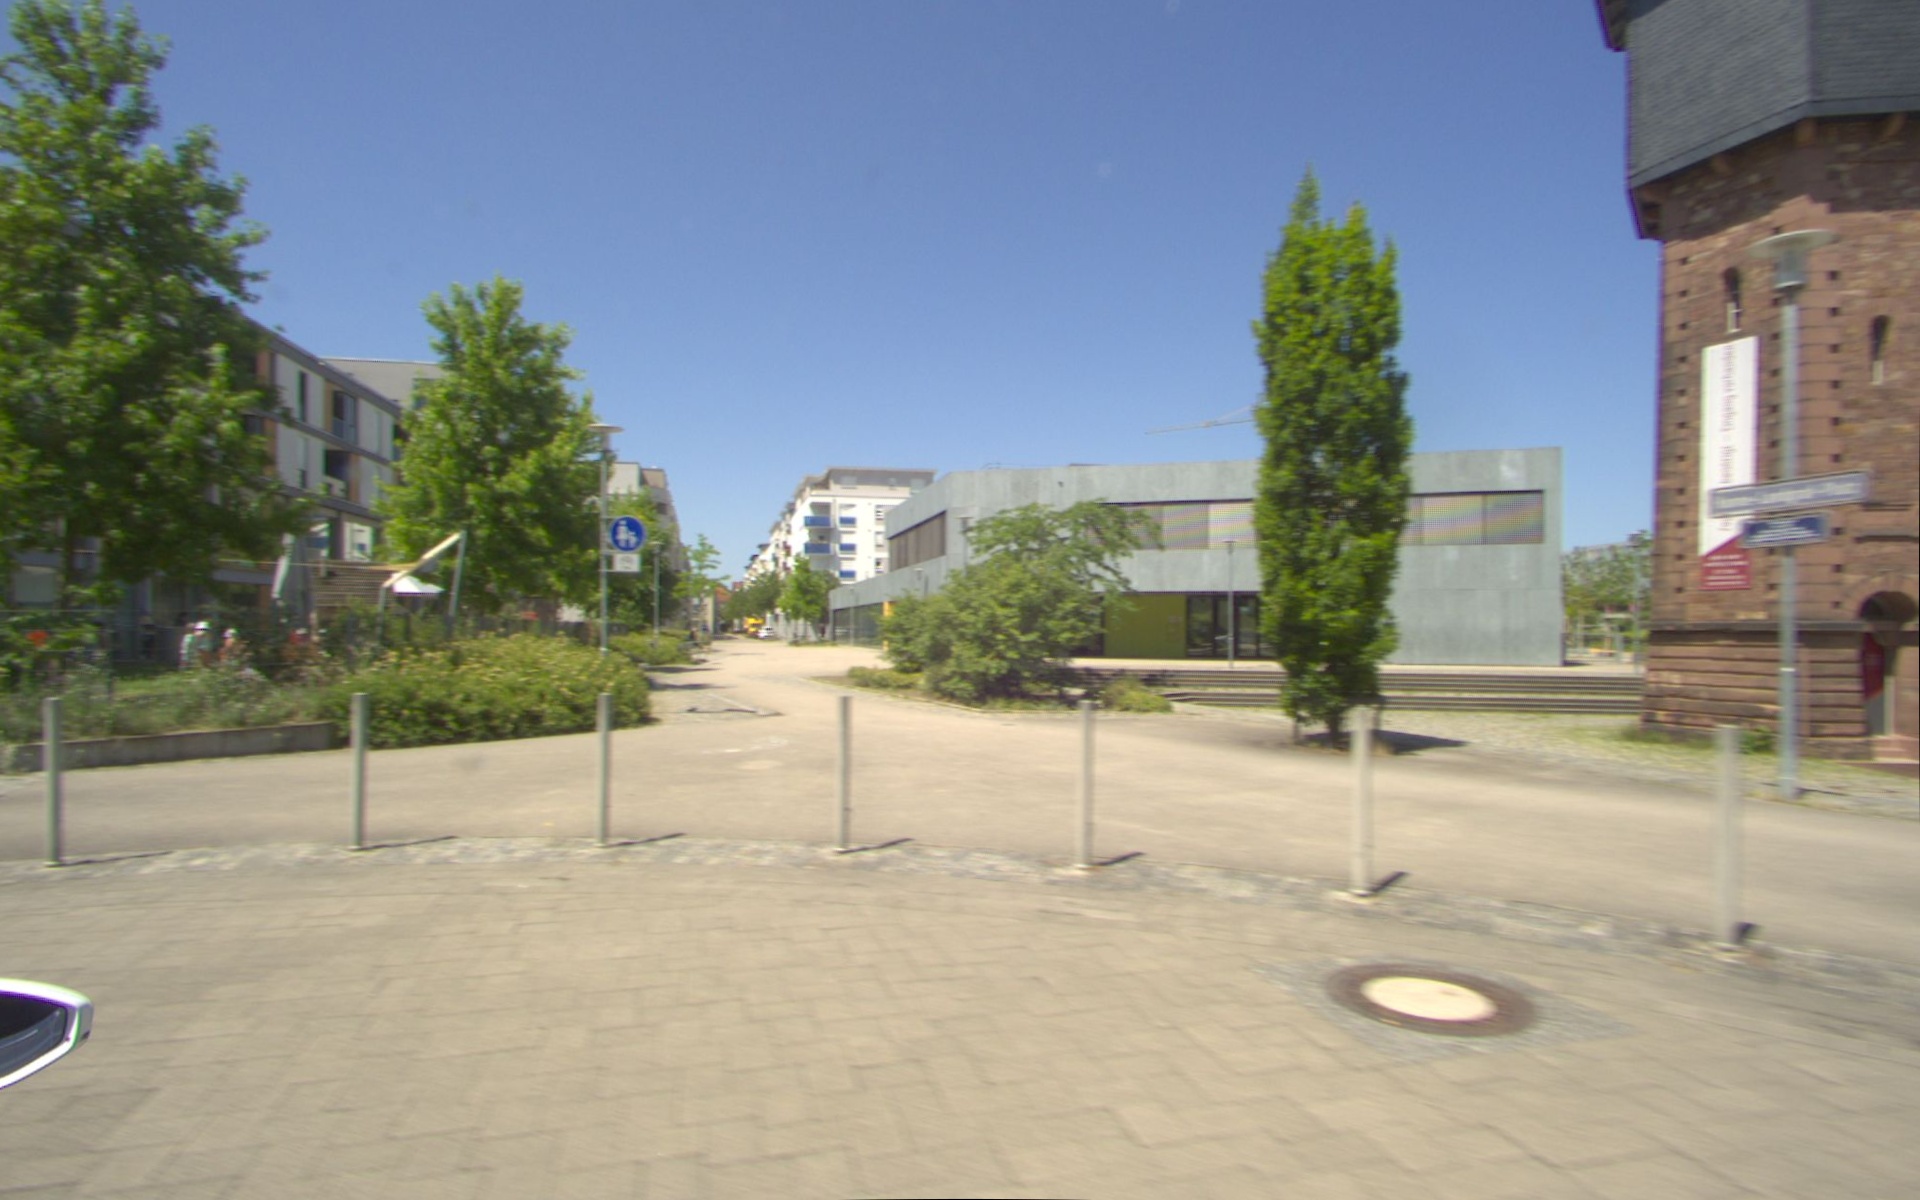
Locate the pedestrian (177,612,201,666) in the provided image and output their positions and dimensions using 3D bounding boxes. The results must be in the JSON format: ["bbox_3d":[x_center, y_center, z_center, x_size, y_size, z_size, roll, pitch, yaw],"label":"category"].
[{"bbox_3d":[-15.642,0.791,20.326,0.285,1.067,0.289,0,-1,32],"label":"pedestrian"}]

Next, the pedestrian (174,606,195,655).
[{"bbox_3d":[-24.133,0.944,31.144,0.457,1.527,0.394,0,-1,38],"label":"pedestrian"}]

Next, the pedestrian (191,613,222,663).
[{"bbox_3d":[-15.623,0.791,20.753,0.277,1.038,0.411,0,-2,22],"label":"pedestrian"}]

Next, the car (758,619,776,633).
[{"bbox_3d":[-22.485,3.014,116.821,1.963,1.630,3.997,1,-2,-12],"label":"car"}]

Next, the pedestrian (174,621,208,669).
[{"bbox_3d":[-16.224,0.953,21.137,0.363,0.999,0.412,0,-2,9],"label":"pedestrian"}]

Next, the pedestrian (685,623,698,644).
[{"bbox_3d":[-18.310,2.291,68.337,0.834,1.365,0.695,1,-1,-14],"label":"pedestrian"}]

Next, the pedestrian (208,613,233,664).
[{"bbox_3d":[-15.560,0.816,21.074,0.281,1.067,0.290,0,-1,8],"label":"pedestrian"}]

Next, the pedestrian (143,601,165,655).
[{"bbox_3d":[-26.043,0.905,32.363,0.390,1.712,0.462,1,-1,-18],"label":"pedestrian"}]

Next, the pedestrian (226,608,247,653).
[{"bbox_3d":[-24.971,1.046,34.560,0.392,1.527,0.459,0,-1,39],"label":"pedestrian"}]

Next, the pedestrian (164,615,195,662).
[{"bbox_3d":[-17.221,0.855,22.095,0.309,1.038,0.411,0,-2,22],"label":"pedestrian"}]

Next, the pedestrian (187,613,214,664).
[{"bbox_3d":[-15.905,0.809,20.971,0.316,1.067,0.290,0,-1,8],"label":"pedestrian"}]

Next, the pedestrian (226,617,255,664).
[{"bbox_3d":[-15.153,0.854,21.100,0.380,0.984,0.290,1,-1,1],"label":"pedestrian"}]

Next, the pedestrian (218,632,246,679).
[{"bbox_3d":[-16.185,1.233,22.270,0.390,1.039,0.411,1,-2,-21],"label":"pedestrian"}]

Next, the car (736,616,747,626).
[{"bbox_3d":[-45.683,4.314,209.239,1.964,2.039,3.996,1,-2,-14],"label":"car"}]

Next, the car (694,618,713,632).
[{"bbox_3d":[-31.636,3.071,123.420,2.114,1.673,4.085,1,-2,-13],"label":"car"}]

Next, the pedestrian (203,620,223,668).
[{"bbox_3d":[-16.885,0.992,22.643,0.318,1.067,0.289,1,-1,-33],"label":"pedestrian"}]
